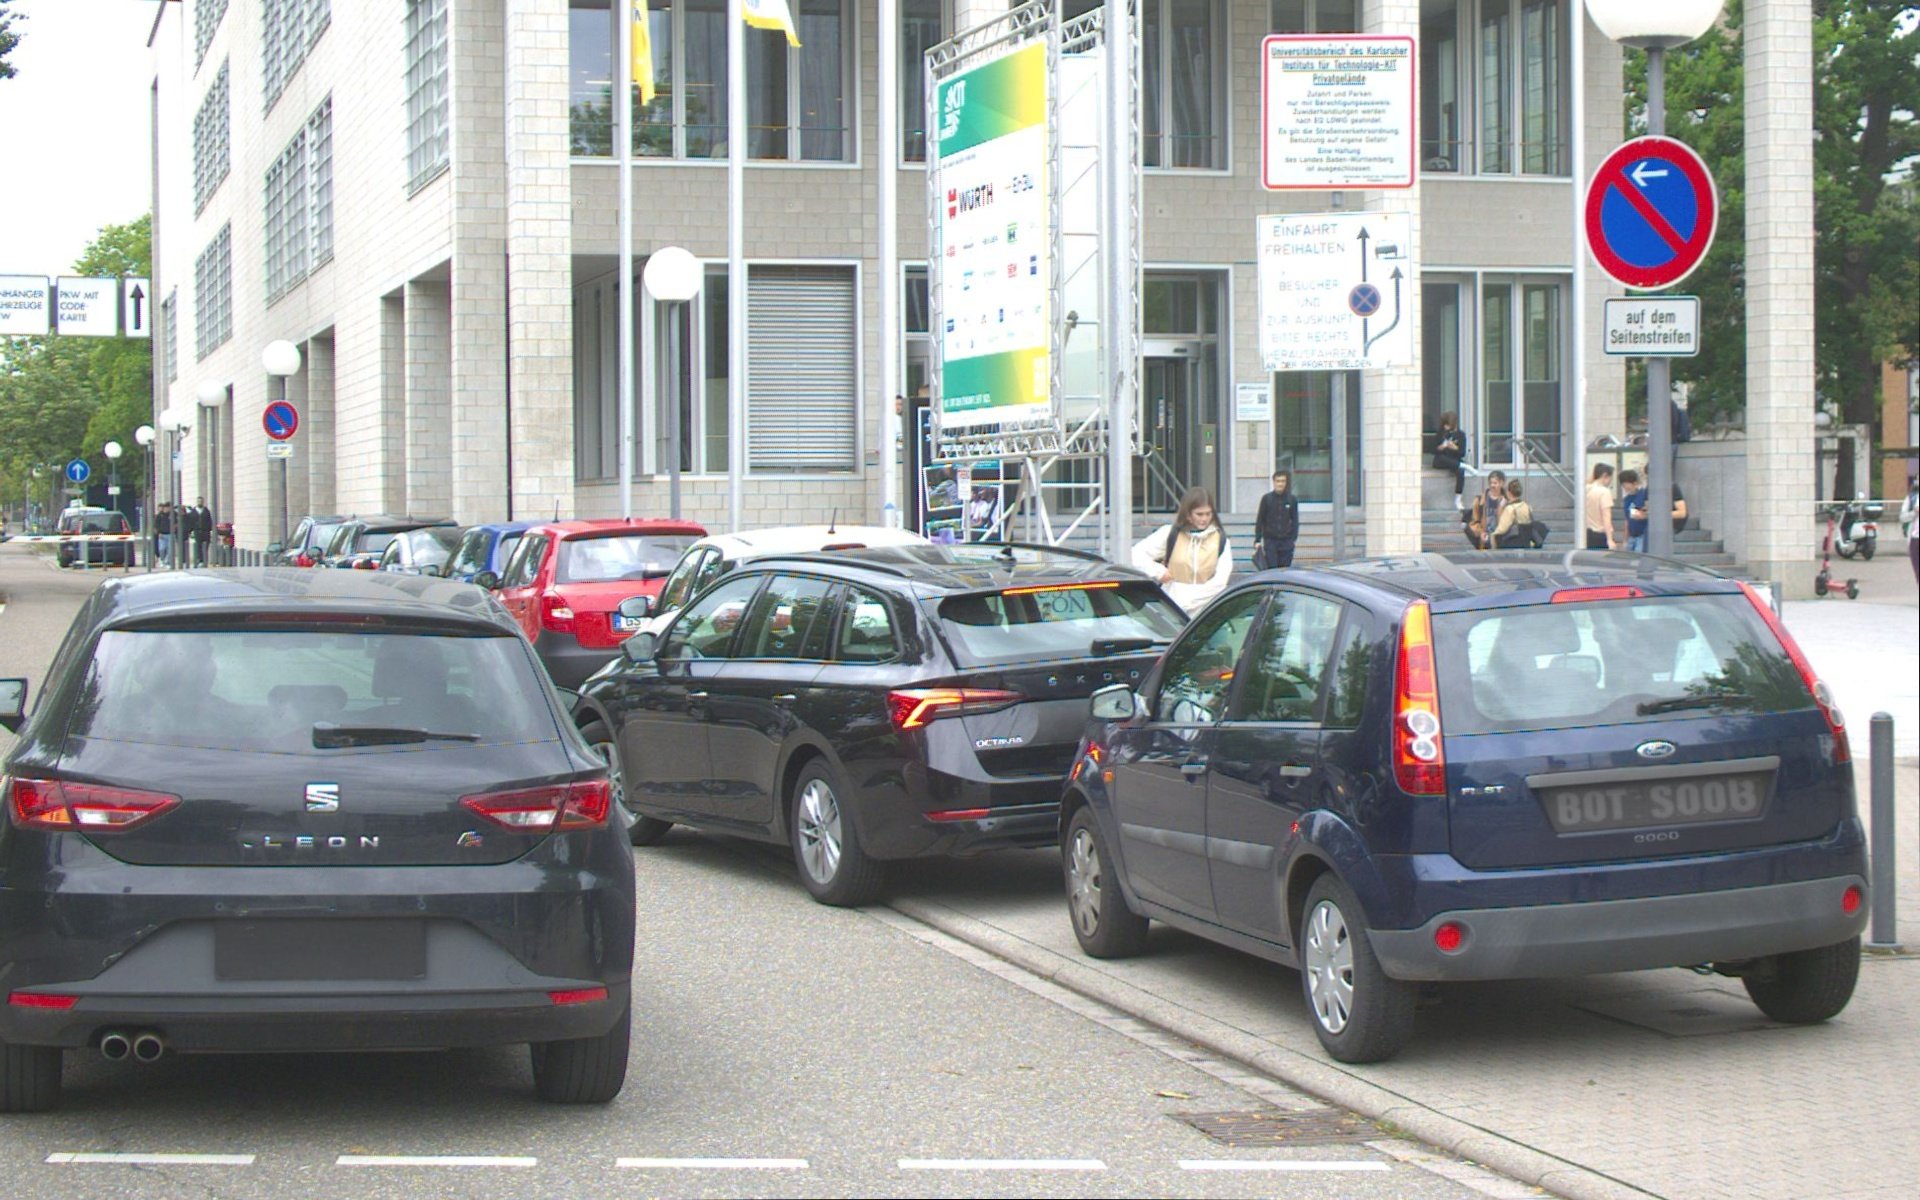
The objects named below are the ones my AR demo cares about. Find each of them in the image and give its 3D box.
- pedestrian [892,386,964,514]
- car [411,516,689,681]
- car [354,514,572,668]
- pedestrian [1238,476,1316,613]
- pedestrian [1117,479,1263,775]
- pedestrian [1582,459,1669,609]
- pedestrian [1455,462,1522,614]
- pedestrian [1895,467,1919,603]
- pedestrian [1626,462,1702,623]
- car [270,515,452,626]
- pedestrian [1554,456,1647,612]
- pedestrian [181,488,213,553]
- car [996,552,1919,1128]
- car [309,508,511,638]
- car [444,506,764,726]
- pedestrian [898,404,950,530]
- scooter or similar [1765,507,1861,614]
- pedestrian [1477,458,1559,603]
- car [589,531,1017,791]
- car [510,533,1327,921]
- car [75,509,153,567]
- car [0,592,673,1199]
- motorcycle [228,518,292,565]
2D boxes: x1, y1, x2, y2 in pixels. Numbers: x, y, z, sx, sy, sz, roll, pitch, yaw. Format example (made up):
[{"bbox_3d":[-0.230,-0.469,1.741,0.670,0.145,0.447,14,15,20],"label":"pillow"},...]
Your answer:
[{"bbox_3d":[-0.426,-1.992,45.445,0.804,1.653,0.631,2,3,10],"label":"pedestrian"},{"bbox_3d":[-3.884,-0.055,31.980,1.694,1.406,4.378,-1,1,-19],"label":"car"},{"bbox_3d":[-5.398,-0.142,36.937,1.848,1.437,4.421,0,3,-14],"label":"car"},{"bbox_3d":[3.893,-0.690,42.235,0.755,1.664,0.705,-1,1,-14],"label":"pedestrian"},{"bbox_3d":[1.401,0.155,21.071,0.791,1.781,0.821,0,1,-3],"label":"pedestrian"},{"bbox_3d":[7.960,-0.795,41.135,0.719,1.779,0.737,-1,1,-29],"label":"pedestrian"},{"bbox_3d":[6.451,-0.759,41.965,0.590,1.834,0.620,0,1,-14],"label":"pedestrian"},{"bbox_3d":[11.951,-0.795,42.254,0.735,1.635,0.931,3,3,20],"label":"pedestrian"},{"bbox_3d":[8.219,-0.667,40.132,0.603,1.858,0.778,0,1,33],"label":"pedestrian"},{"bbox_3d":[-8.292,-0.432,47.267,1.993,1.447,4.924,0,1,-15],"label":"car"},{"bbox_3d":[7.409,-0.760,39.789,0.762,1.779,0.737,0,1,-29],"label":"pedestrian"},{"bbox_3d":[-20.461,-2.129,92.186,0.727,1.693,0.588,1,3,-21],"label":"pedestrian"},{"bbox_3d":[1.467,0.621,11.503,1.621,1.496,4.107,-2,1,-15],"label":"car"},{"bbox_3d":[-6.719,-0.370,41.644,1.817,1.438,4.522,-2,2,-16],"label":"car"},{"bbox_3d":[-2.818,0.051,26.399,1.712,1.468,4.275,-2,2,-15],"label":"car"},{"bbox_3d":[-0.481,-1.801,46.383,0.629,1.653,0.807,2,3,1],"label":"pedestrian"},{"bbox_3d":[11.165,-0.524,44.981,1.488,1.364,0.405,-1,4,-43],"label":"scooter or similar"},{"bbox_3d":[6.666,-0.833,41.082,0.776,1.709,0.604,-1,1,-14],"label":"pedestrian"},{"bbox_3d":[-1.086,0.308,21.540,1.860,1.448,3.860,0,1,-15],"label":"car"},{"bbox_3d":[-0.371,0.448,15.771,1.860,1.397,4.479,-3,3,-28],"label":"car"},{"bbox_3d":[-24.482,-1.790,99.415,1.993,1.617,4.429,-1,1,-16],"label":"car"},{"bbox_3d":[-2.136,0.738,10.514,1.782,1.414,4.131,0,1,-15],"label":"car"},{"bbox_3d":[-18.678,-1.574,91.796,0.759,1.144,2.662,2,3,9],"label":"motorcycle"}]
